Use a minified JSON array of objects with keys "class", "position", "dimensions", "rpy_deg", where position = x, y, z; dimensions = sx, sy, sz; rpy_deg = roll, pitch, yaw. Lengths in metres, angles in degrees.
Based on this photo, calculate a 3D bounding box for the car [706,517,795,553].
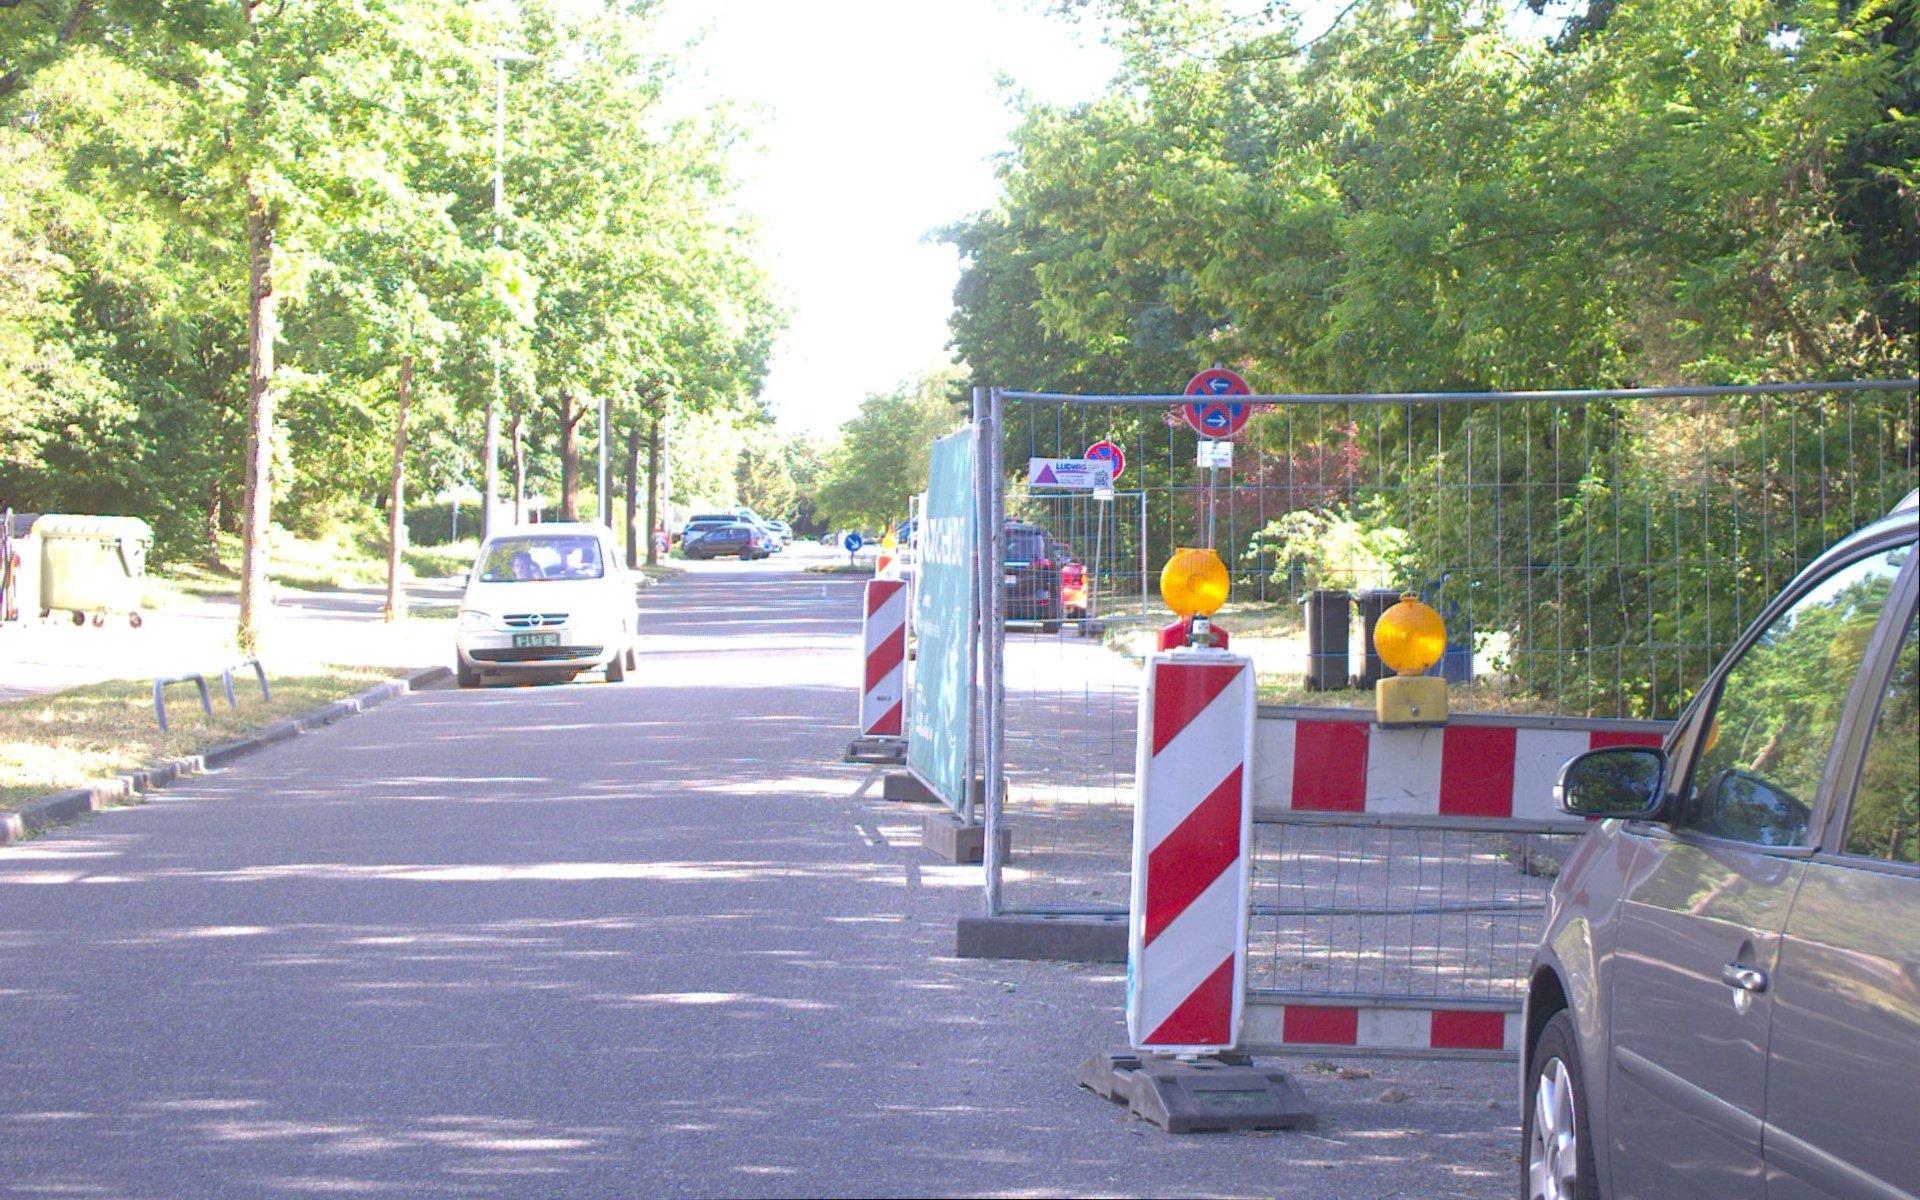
[{"class":"car","position":[-10.087,-3.128,166.026],"dimensions":[4.107,1.571,1.958],"rpy_deg":[2,1,1]}]

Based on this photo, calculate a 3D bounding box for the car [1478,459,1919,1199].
[{"class":"car","position":[2.015,0.637,5.070],"dimensions":[1.678,1.616,4.138],"rpy_deg":[2,1,-2]}]

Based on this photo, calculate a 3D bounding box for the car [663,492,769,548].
[{"class":"car","position":[-12.439,-4.091,174.922],"dimensions":[5.199,2.612,2.294],"rpy_deg":[2,1,-6]}]

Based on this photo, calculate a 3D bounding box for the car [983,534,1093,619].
[{"class":"car","position":[1.330,-0.436,60.256],"dimensions":[1.661,1.371,4.155],"rpy_deg":[2,1,-2]}]

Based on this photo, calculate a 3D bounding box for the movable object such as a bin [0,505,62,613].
[{"class":"movable object such as a bin","position":[-12.938,-0.564,46.564],"dimensions":[1.141,1.430,1.273],"rpy_deg":[0,1,-35]}]

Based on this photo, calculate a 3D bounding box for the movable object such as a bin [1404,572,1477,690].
[{"class":"movable object such as a bin","position":[4.140,0.264,29.639],"dimensions":[0.519,0.996,0.608],"rpy_deg":[-1,1,-1]}]

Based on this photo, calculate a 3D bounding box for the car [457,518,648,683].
[{"class":"car","position":[-4.179,-0.041,35.725],"dimensions":[1.659,1.590,4.009],"rpy_deg":[1,1,-2]}]

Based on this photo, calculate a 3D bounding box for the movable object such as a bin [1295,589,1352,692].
[{"class":"movable object such as a bin","position":[3.131,0.347,29.637],"dimensions":[0.413,0.867,0.484],"rpy_deg":[-1,1,-1]}]

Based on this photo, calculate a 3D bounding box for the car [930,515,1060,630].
[{"class":"car","position":[0.583,-0.451,53.433],"dimensions":[1.810,1.645,4.420],"rpy_deg":[2,1,3]}]

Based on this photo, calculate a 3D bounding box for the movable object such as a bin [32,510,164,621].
[{"class":"movable object such as a bin","position":[-11.262,-0.459,44.951],"dimensions":[1.270,1.430,1.181],"rpy_deg":[1,1,15]}]

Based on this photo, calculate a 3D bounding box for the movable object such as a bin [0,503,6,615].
[{"class":"movable object such as a bin","position":[-13.072,-0.518,43.708],"dimensions":[1.271,1.430,1.324],"rpy_deg":[1,1,27]}]

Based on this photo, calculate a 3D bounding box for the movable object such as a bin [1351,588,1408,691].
[{"class":"movable object such as a bin","position":[3.621,0.337,29.693],"dimensions":[0.413,0.867,0.484],"rpy_deg":[-1,1,-1]}]

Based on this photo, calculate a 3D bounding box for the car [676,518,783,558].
[{"class":"car","position":[-10.037,-2.699,149.728],"dimensions":[4.319,1.571,2.046],"rpy_deg":[3,1,5]}]
